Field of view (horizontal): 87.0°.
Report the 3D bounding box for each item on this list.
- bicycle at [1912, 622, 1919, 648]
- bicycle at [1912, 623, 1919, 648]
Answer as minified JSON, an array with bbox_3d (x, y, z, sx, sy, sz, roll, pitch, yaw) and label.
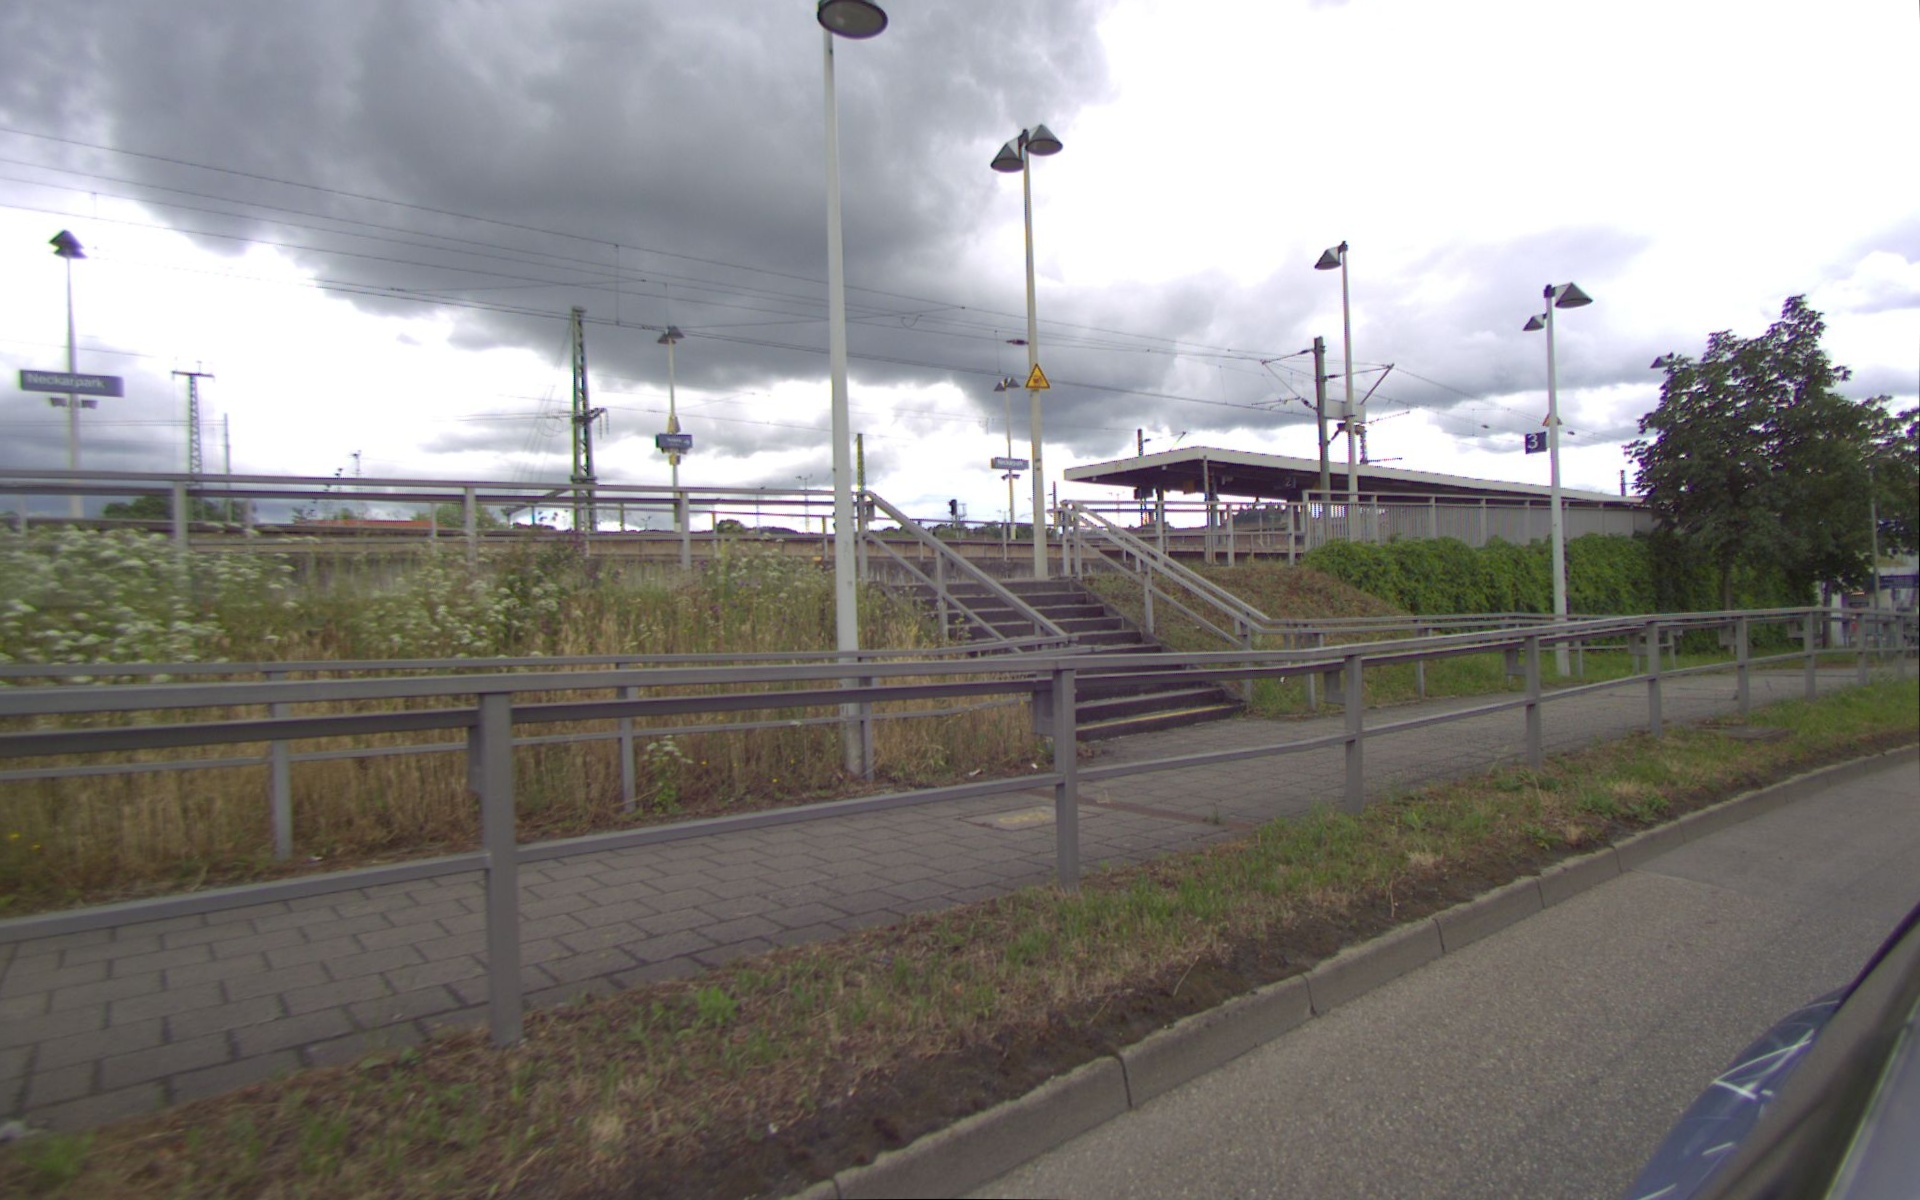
[{"bbox_3d":[33.002,1.169,34.003,0.455,0.865,1.579,-1,-3,0],"label":"bicycle"},{"bbox_3d":[33.988,1.191,34.802,0.501,0.876,1.972,0,-4,-4],"label":"bicycle"}]
